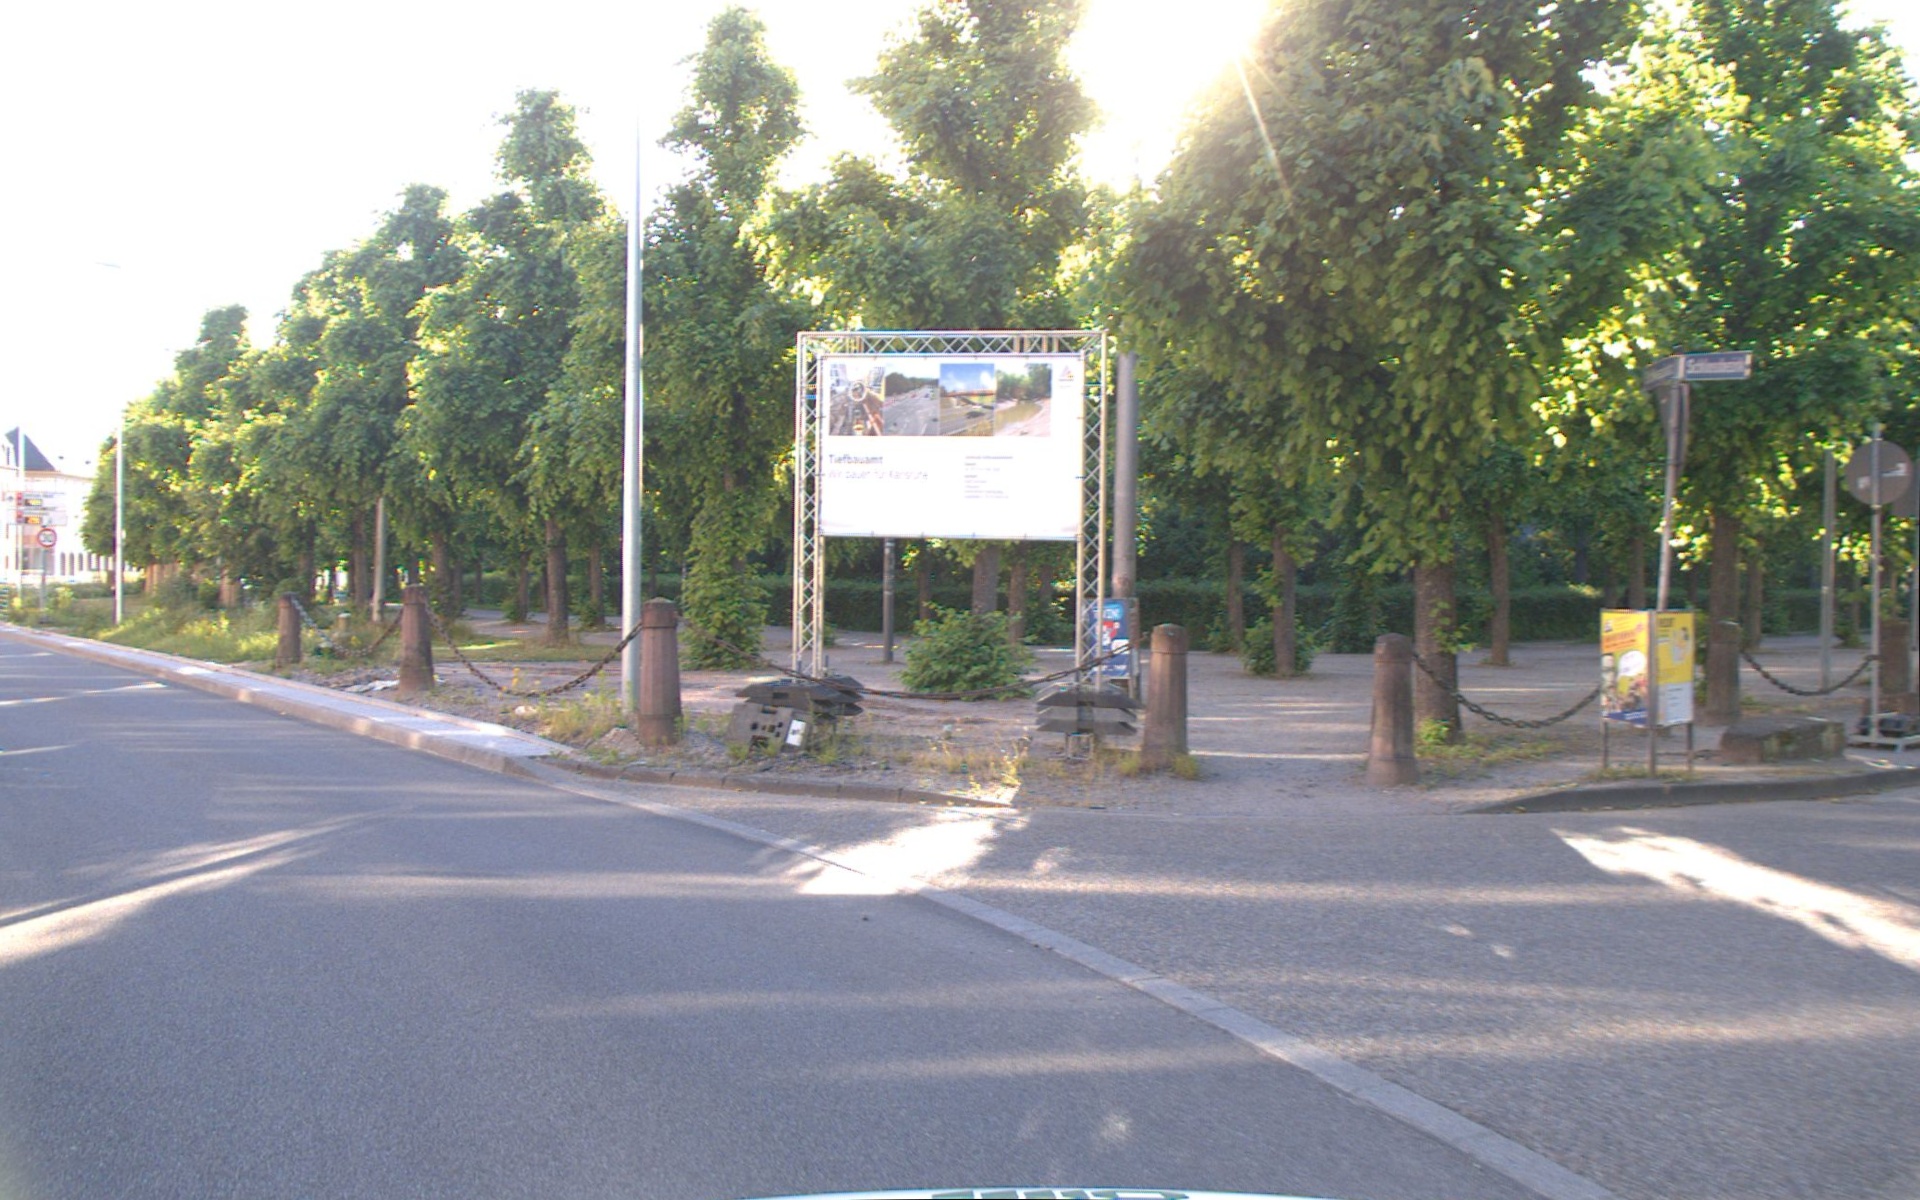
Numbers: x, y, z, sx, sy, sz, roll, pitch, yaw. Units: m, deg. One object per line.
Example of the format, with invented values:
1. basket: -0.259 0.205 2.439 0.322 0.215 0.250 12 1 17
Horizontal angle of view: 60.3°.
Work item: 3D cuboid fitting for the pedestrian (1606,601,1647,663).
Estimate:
1. pedestrian: 17.771 0.848 44.072 0.824 1.611 0.677 1 0 42
